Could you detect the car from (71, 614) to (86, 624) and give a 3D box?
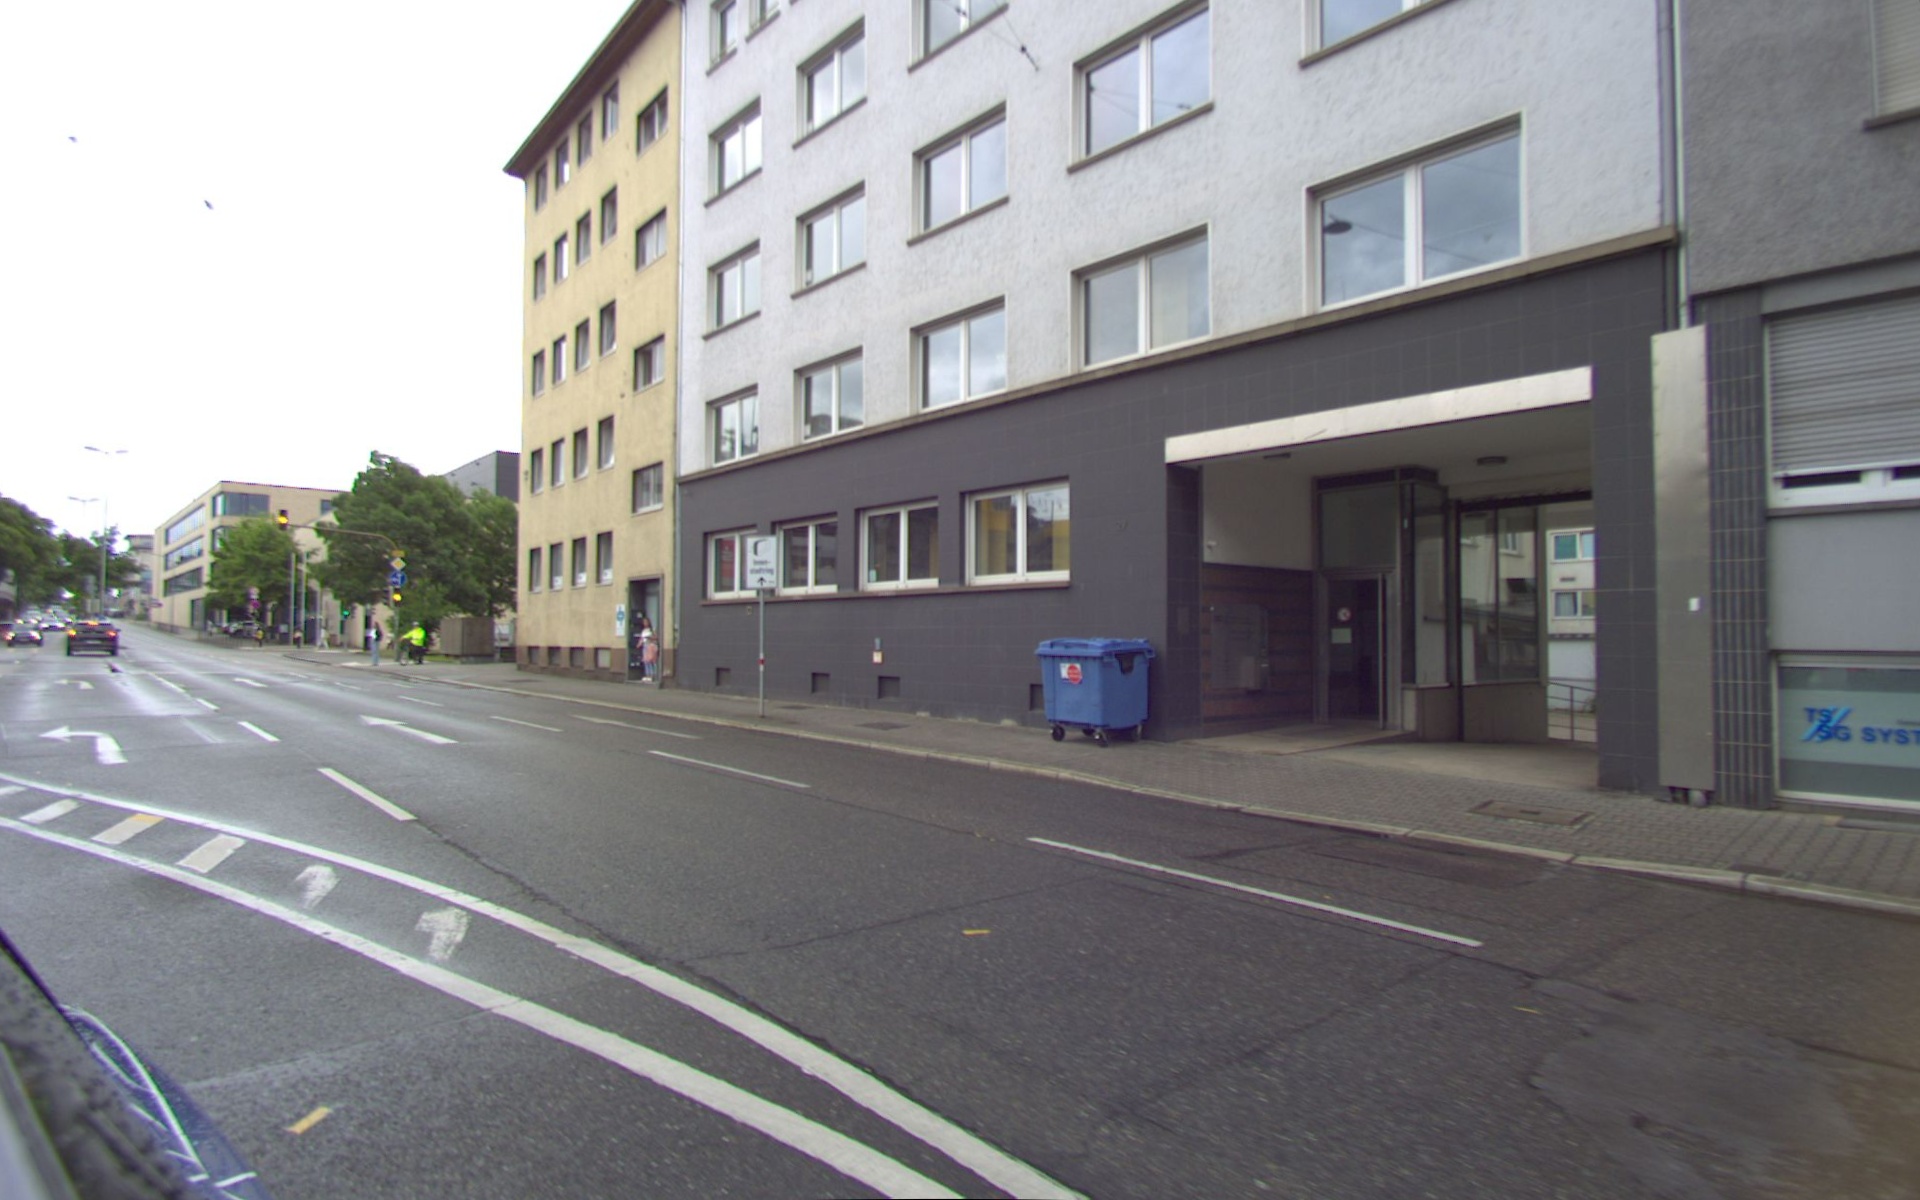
[{"bbox_3d":[-146.491,3.122,168.173,1.651,1.481,4.304,6,-5,-43],"label":"car"}]

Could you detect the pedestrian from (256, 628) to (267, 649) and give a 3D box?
[{"bbox_3d":[-51.198,2.833,74.139,0.587,1.528,0.693,1,-2,-43],"label":"pedestrian"}]

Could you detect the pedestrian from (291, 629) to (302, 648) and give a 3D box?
[{"bbox_3d":[-47.605,2.763,72.647,0.613,1.386,0.475,0,-2,-41],"label":"pedestrian"}]

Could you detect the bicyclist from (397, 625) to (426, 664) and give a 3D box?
[{"bbox_3d":[-21.103,1.707,38.927,0.831,1.453,0.814,0,-1,-40],"label":"bicyclist"}]

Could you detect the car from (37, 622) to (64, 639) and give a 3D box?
[{"bbox_3d":[-97.649,3.246,108.651,1.970,1.796,4.003,0,-1,-44],"label":"car"}]

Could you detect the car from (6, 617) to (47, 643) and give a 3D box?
[{"bbox_3d":[-64.850,2.066,70.286,1.970,1.796,4.003,0,-1,-44],"label":"car"}]

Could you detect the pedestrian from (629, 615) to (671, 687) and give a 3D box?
[{"bbox_3d":[-7.492,1.208,24.483,0.708,1.702,0.812,0,-1,-40],"label":"pedestrian"}]

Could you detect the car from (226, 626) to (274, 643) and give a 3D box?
[{"bbox_3d":[-71.712,3.442,102.248,3.935,1.597,2.004,0,-1,-38],"label":"car"}]

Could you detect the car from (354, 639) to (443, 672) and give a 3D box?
[{"bbox_3d":[-37.608,3.736,67.835,4.721,1.940,2.001,8,-7,-44],"label":"car"}]

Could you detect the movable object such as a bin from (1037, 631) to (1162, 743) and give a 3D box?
[{"bbox_3d":[1.791,1.074,13.044,1.063,1.334,1.192,0,-1,-41],"label":"movable object such as a bin"}]

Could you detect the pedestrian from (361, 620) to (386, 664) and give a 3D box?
[{"bbox_3d":[-22.829,1.622,39.363,0.708,1.702,0.812,0,-1,-40],"label":"pedestrian"}]

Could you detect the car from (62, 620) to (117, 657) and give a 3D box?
[{"bbox_3d":[-40.097,1.780,46.655,1.785,1.606,4.301,3,-3,-41],"label":"car"}]

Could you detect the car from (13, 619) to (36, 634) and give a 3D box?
[{"bbox_3d":[-112.511,3.191,121.713,1.970,1.796,4.003,0,-1,-44],"label":"car"}]

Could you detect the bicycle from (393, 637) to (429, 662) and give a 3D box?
[{"bbox_3d":[-21.129,1.895,38.955,0.874,0.914,1.870,0,-1,-40],"label":"bicycle"}]

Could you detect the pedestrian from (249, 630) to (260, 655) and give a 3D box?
[{"bbox_3d":[-50.756,3.033,72.830,0.587,1.785,0.693,1,-2,-43],"label":"pedestrian"}]

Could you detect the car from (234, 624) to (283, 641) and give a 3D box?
[{"bbox_3d":[-69.736,3.179,100.659,3.935,1.597,2.004,0,-1,-38],"label":"car"}]
